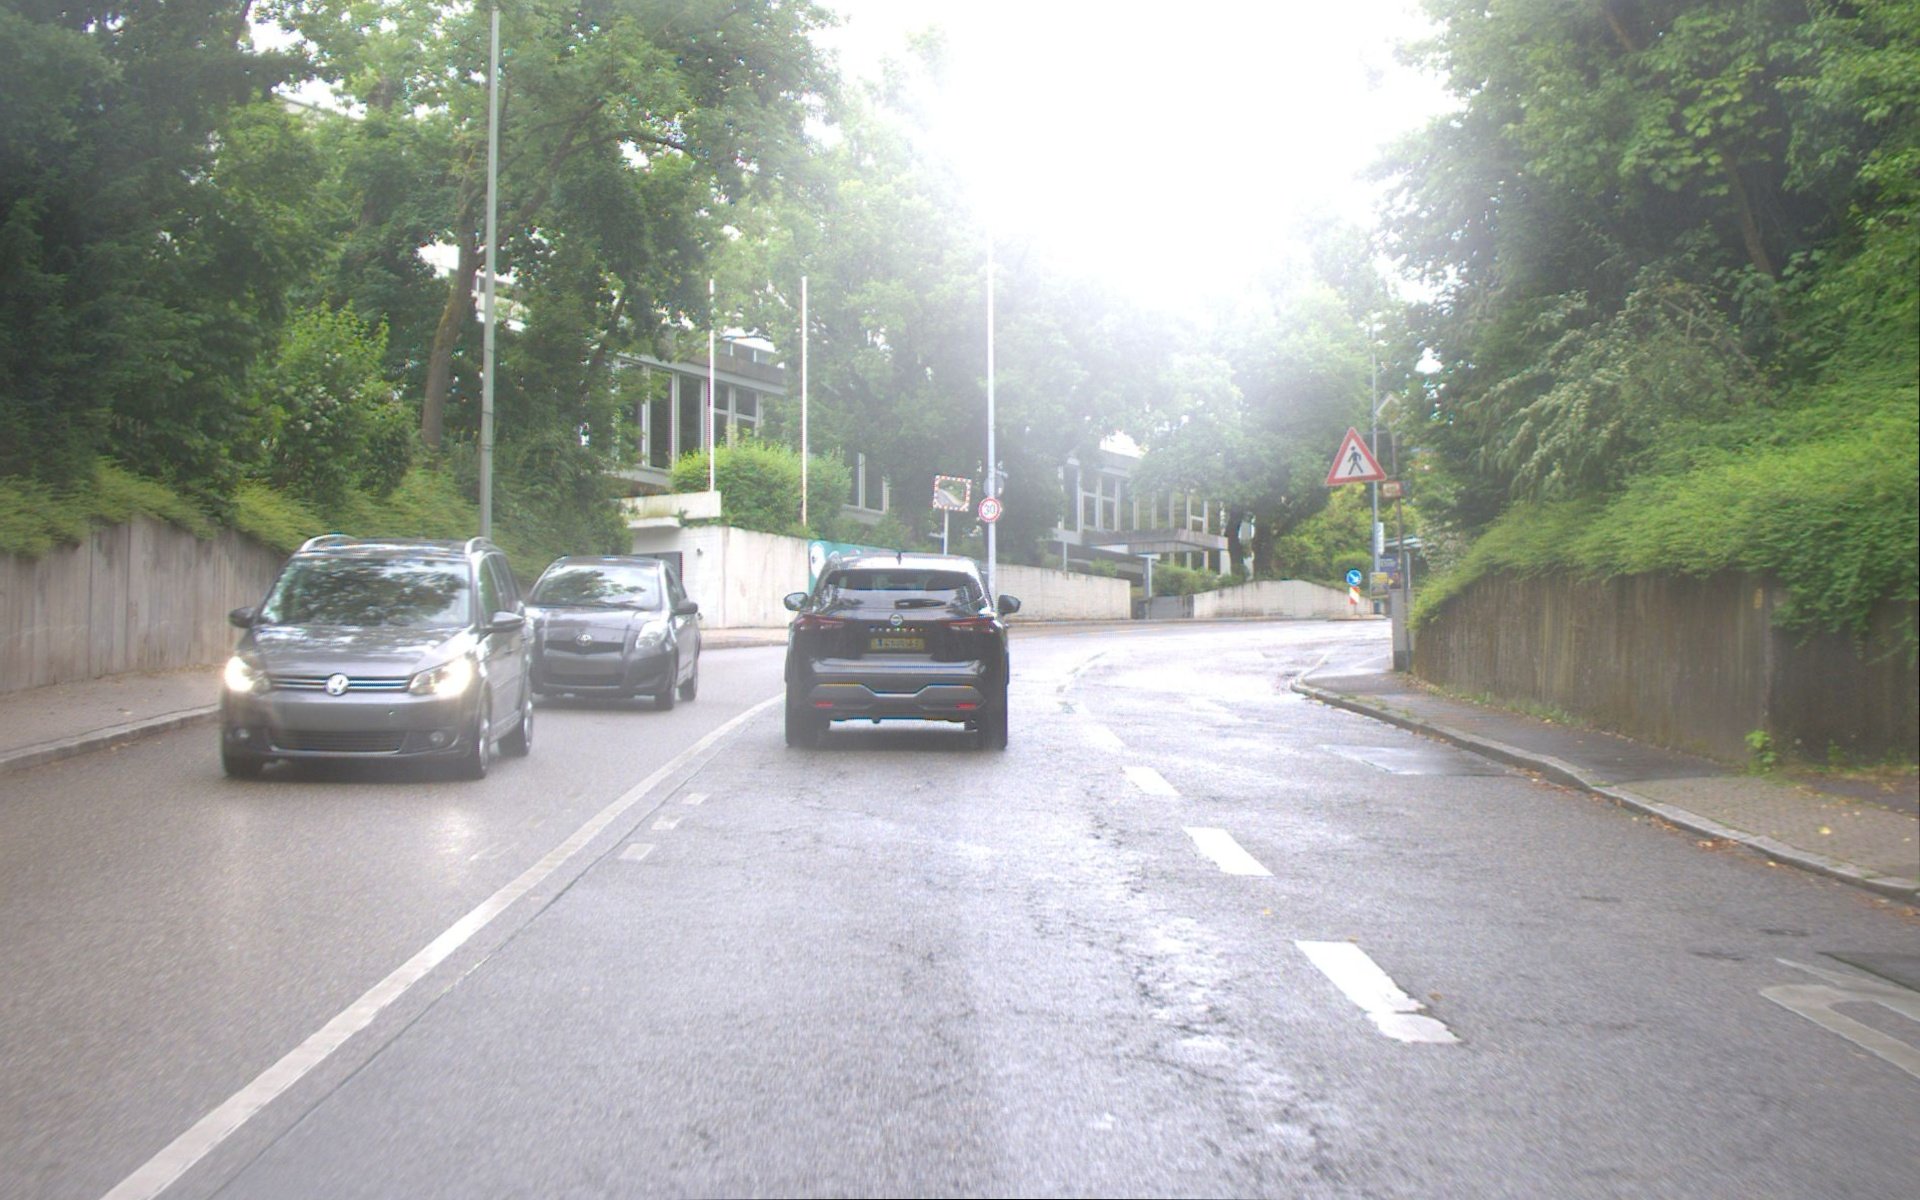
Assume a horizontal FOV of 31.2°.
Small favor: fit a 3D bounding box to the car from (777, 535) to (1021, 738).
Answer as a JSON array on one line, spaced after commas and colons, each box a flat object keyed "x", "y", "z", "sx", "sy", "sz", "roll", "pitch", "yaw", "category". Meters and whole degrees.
[{"x": -0.512, "y": 0.263, "z": 29.351, "sx": 1.928, "sy": 1.607, "sz": 4.000, "roll": 0, "pitch": 1, "yaw": -1, "category": "car"}]

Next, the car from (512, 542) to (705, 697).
[{"x": -3.521, "y": 0.160, "z": 34.947, "sx": 1.675, "sy": 1.491, "sz": 3.460, "roll": 0, "pitch": 1, "yaw": -1, "category": "car"}]

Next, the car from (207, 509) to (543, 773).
[{"x": -4.069, "y": 0.244, "z": 24.482, "sx": 1.830, "sy": 1.705, "sz": 4.000, "roll": 1, "pitch": 1, "yaw": -2, "category": "car"}]
